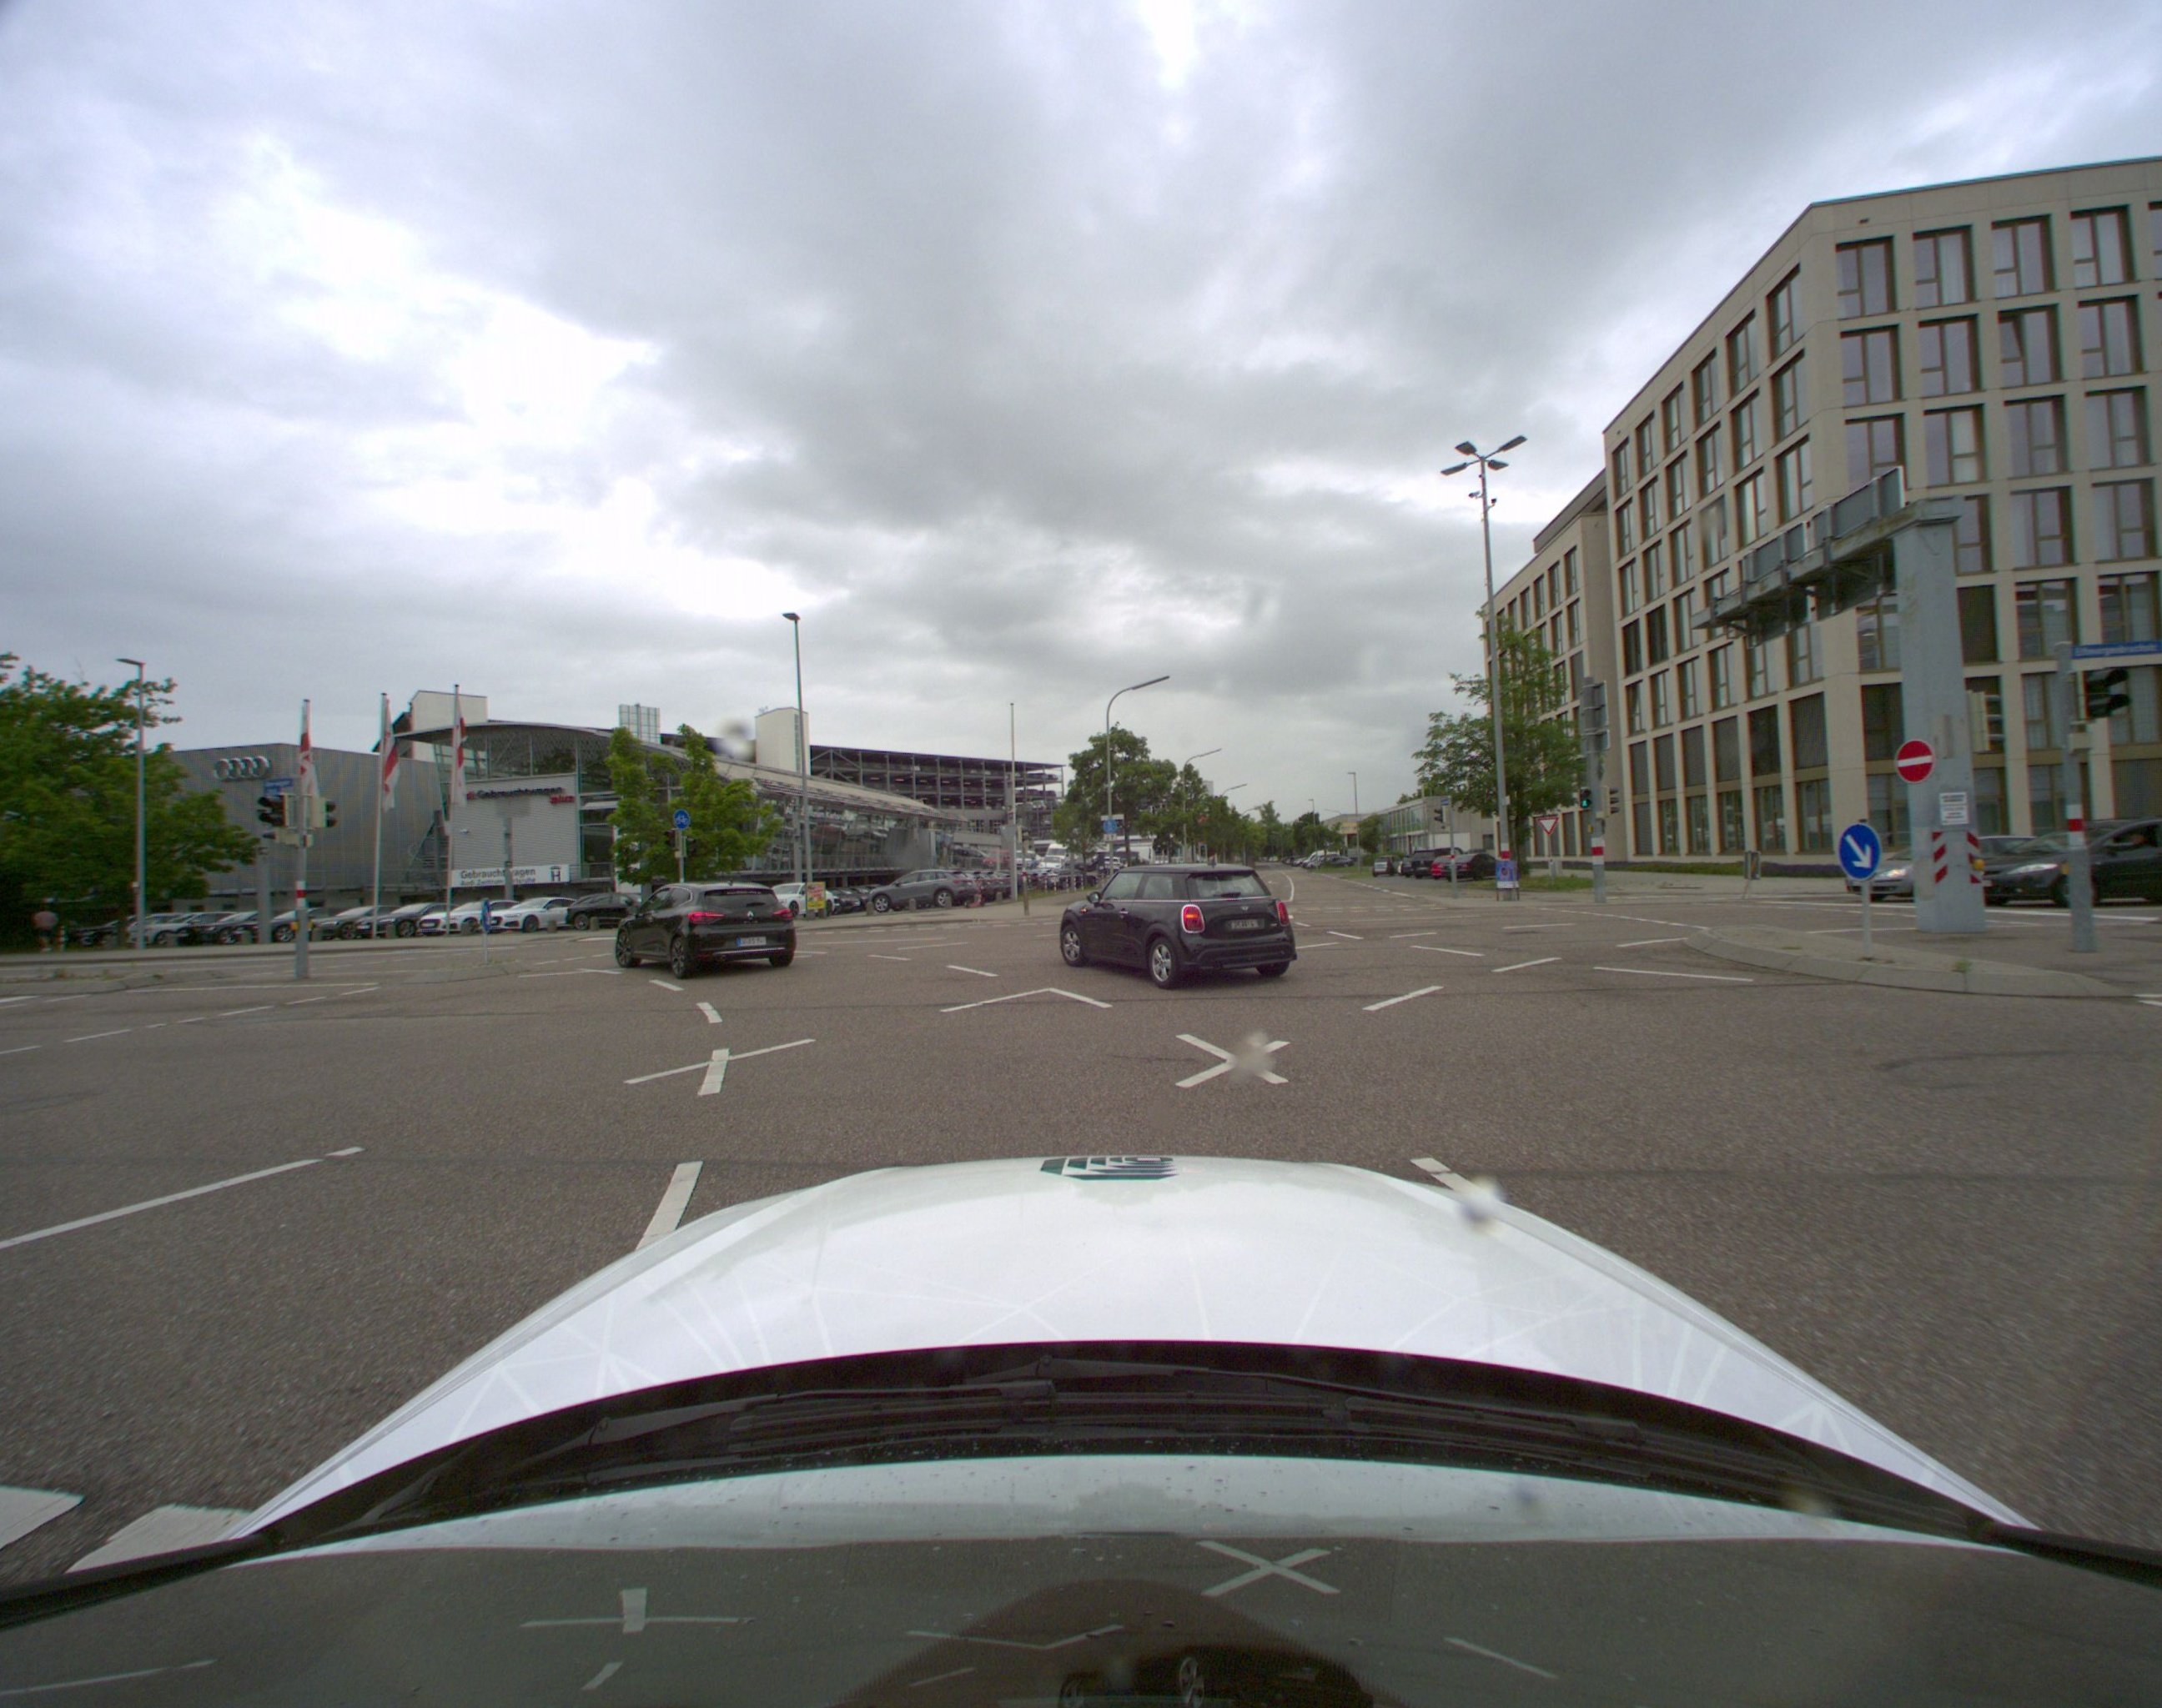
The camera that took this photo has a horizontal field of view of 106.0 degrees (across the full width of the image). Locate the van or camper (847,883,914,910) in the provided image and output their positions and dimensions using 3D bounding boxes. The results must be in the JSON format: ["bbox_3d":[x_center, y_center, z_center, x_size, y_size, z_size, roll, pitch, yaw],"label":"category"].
[{"bbox_3d":[-13.500,2.868,54.924,3.963,1.712,1.851,-1,-2,9],"label":"van or camper"}]

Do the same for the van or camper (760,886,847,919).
[{"bbox_3d":[-14.977,2.625,44.124,3.963,1.677,2.005,-1,-2,9],"label":"van or camper"}]

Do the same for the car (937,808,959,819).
[{"bbox_3d":[-24.372,-7.454,149.523,3.950,1.667,2.012,-3,-2,45],"label":"car"}]

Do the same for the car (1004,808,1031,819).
[{"bbox_3d":[-12.749,-8.116,163.731,5.263,1.945,2.224,-3,-2,41],"label":"car"}]

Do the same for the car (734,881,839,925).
[{"bbox_3d":[-11.168,1.866,31.257,1.857,1.486,4.240,-4,-4,10],"label":"car"}]

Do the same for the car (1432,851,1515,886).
[{"bbox_3d":[21.424,0.771,44.469,4.142,1.768,1.872,-1,-3,-27],"label":"car"}]

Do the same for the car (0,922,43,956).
[{"bbox_3d":[-51.473,3.889,37.346,1.859,1.603,4.259,-1,-7,9],"label":"car"}]

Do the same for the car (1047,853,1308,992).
[{"bbox_3d":[1.059,0.765,10.718,1.794,1.415,3.614,-2,0,-24],"label":"car"}]

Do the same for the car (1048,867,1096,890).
[{"bbox_3d":[-0.802,2.229,73.374,3.962,2.014,2.005,-1,-2,10],"label":"car"}]

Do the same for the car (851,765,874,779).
[{"bbox_3d":[-36.720,-13.760,136.924,3.950,1.667,2.012,-3,-2,45],"label":"car"}]

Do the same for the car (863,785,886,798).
[{"bbox_3d":[-35.098,-10.614,138.470,3.950,1.667,2.012,-3,-2,45],"label":"car"}]

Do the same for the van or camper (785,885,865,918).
[{"bbox_3d":[-14.624,2.726,46.633,3.963,1.816,1.851,-1,-2,9],"label":"van or camper"}]

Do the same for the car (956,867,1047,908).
[{"bbox_3d":[-4.677,1.974,48.062,4.865,2.014,2.004,-4,-3,8],"label":"car"}]

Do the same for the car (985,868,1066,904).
[{"bbox_3d":[-3.634,2.119,53.535,4.865,2.014,2.004,-4,-3,8],"label":"car"}]

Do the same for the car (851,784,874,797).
[{"bbox_3d":[-36.670,-10.654,136.731,3.950,1.667,2.012,-3,-2,45],"label":"car"}]

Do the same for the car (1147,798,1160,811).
[{"bbox_3d":[12.595,-8.598,141.575,1.982,1.883,4.009,-3,-2,9],"label":"car"}]

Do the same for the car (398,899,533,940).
[{"bbox_3d":[-24.342,2.592,32.429,1.859,1.486,4.054,-3,-4,10],"label":"car"}]

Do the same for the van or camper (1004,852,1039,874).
[{"bbox_3d":[-4.900,0.771,67.530,1.982,1.651,4.010,-1,-2,9],"label":"van or camper"}]

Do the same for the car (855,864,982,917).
[{"bbox_3d":[-6.868,1.547,34.663,4.745,1.863,2.004,-4,-3,8],"label":"car"}]

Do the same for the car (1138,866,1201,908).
[{"bbox_3d":[3.791,1.333,34.325,1.964,1.551,4.631,-3,-1,14],"label":"car"}]

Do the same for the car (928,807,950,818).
[{"bbox_3d":[-25.800,-7.492,147.817,3.950,1.667,2.012,-3,-2,45],"label":"car"}]

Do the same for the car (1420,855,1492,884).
[{"bbox_3d":[22.500,0.916,48.835,4.148,1.551,1.869,-1,-3,-32],"label":"car"}]

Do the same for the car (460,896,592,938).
[{"bbox_3d":[-21.783,2.457,32.214,1.835,1.486,4.209,-3,-4,10],"label":"car"}]

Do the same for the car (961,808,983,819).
[{"bbox_3d":[-20.541,-7.600,153.453,3.950,1.667,2.012,-3,-2,45],"label":"car"}]

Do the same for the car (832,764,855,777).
[{"bbox_3d":[-39.432,-13.792,134.983,3.950,1.667,2.012,-3,-2,45],"label":"car"}]

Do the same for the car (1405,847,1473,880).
[{"bbox_3d":[22.869,0.621,51.957,4.263,1.966,1.978,0,-3,-36],"label":"car"}]

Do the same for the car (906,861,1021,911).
[{"bbox_3d":[-5.744,1.580,40.147,4.994,2.014,2.271,-4,-3,8],"label":"car"}]

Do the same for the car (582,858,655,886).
[{"bbox_3d":[-28.595,1.140,50.507,1.809,1.662,4.009,-1,-2,8],"label":"car"}]

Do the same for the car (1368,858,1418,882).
[{"bbox_3d":[23.665,1.228,61.754,3.443,1.732,1.749,0,-2,-29],"label":"car"}]

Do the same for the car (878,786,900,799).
[{"bbox_3d":[-33.056,-10.580,140.226,3.950,1.667,2.012,-3,-2,45],"label":"car"}]

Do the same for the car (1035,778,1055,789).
[{"bbox_3d":[-7.442,-14.524,167.873,3.950,1.667,2.012,-3,-2,45],"label":"car"}]

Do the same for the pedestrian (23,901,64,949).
[{"bbox_3d":[-41.107,2.797,32.284,0.667,1.871,0.721,-3,-4,9],"label":"pedestrian"}]

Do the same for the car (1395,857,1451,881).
[{"bbox_3d":[23.260,1.003,55.358,3.833,1.511,1.679,-1,-3,-34],"label":"car"}]

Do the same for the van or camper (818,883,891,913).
[{"bbox_3d":[-14.303,2.777,51.525,3.963,1.816,1.851,-1,-2,9],"label":"van or camper"}]

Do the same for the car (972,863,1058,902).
[{"bbox_3d":[-4.085,1.789,50.734,4.865,2.014,2.004,-4,-3,8],"label":"car"}]

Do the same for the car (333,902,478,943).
[{"bbox_3d":[-27.054,2.729,32.819,1.854,1.486,4.243,-3,-4,10],"label":"car"}]

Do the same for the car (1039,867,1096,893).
[{"bbox_3d":[-0.963,1.967,61.018,3.962,1.838,1.765,-1,-2,10],"label":"car"}]

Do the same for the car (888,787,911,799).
[{"bbox_3d":[-31.616,-10.544,141.949,3.950,1.667,2.012,-3,-2,45],"label":"car"}]

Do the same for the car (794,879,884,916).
[{"bbox_3d":[-14.672,2.631,49.415,4.772,1.940,2.005,-3,-2,10],"label":"car"}]

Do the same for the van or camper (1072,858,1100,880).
[{"bbox_3d":[0.524,1.433,77.970,1.981,2.014,4.010,-1,-2,9],"label":"van or camper"}]

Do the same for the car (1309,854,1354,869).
[{"bbox_3d":[31.003,0.991,101.044,5.141,1.720,2.149,-1,-2,10],"label":"car"}]

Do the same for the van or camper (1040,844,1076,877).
[{"bbox_3d":[-2.201,0.696,78.620,2.520,3.027,4.855,-1,-2,9],"label":"van or camper"}]

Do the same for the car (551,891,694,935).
[{"bbox_3d":[-17.968,2.339,32.013,4.711,1.486,1.897,-3,-4,9],"label":"car"}]

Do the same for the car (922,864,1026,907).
[{"bbox_3d":[-5.582,1.651,42.670,4.921,1.876,2.057,-4,-3,6],"label":"car"}]

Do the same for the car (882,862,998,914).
[{"bbox_3d":[-6.396,1.549,37.200,4.674,2.014,2.004,-4,-3,8],"label":"car"}]

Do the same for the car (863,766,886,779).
[{"bbox_3d":[-35.208,-13.928,138.832,3.950,1.667,2.012,-3,-2,45],"label":"car"}]

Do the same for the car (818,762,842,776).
[{"bbox_3d":[-41.015,-13.837,133.101,3.950,1.667,2.012,-3,-2,45],"label":"car"}]

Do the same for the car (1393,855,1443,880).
[{"bbox_3d":[24.783,1.015,59.858,3.443,1.798,1.576,0,-2,-29],"label":"car"}]
